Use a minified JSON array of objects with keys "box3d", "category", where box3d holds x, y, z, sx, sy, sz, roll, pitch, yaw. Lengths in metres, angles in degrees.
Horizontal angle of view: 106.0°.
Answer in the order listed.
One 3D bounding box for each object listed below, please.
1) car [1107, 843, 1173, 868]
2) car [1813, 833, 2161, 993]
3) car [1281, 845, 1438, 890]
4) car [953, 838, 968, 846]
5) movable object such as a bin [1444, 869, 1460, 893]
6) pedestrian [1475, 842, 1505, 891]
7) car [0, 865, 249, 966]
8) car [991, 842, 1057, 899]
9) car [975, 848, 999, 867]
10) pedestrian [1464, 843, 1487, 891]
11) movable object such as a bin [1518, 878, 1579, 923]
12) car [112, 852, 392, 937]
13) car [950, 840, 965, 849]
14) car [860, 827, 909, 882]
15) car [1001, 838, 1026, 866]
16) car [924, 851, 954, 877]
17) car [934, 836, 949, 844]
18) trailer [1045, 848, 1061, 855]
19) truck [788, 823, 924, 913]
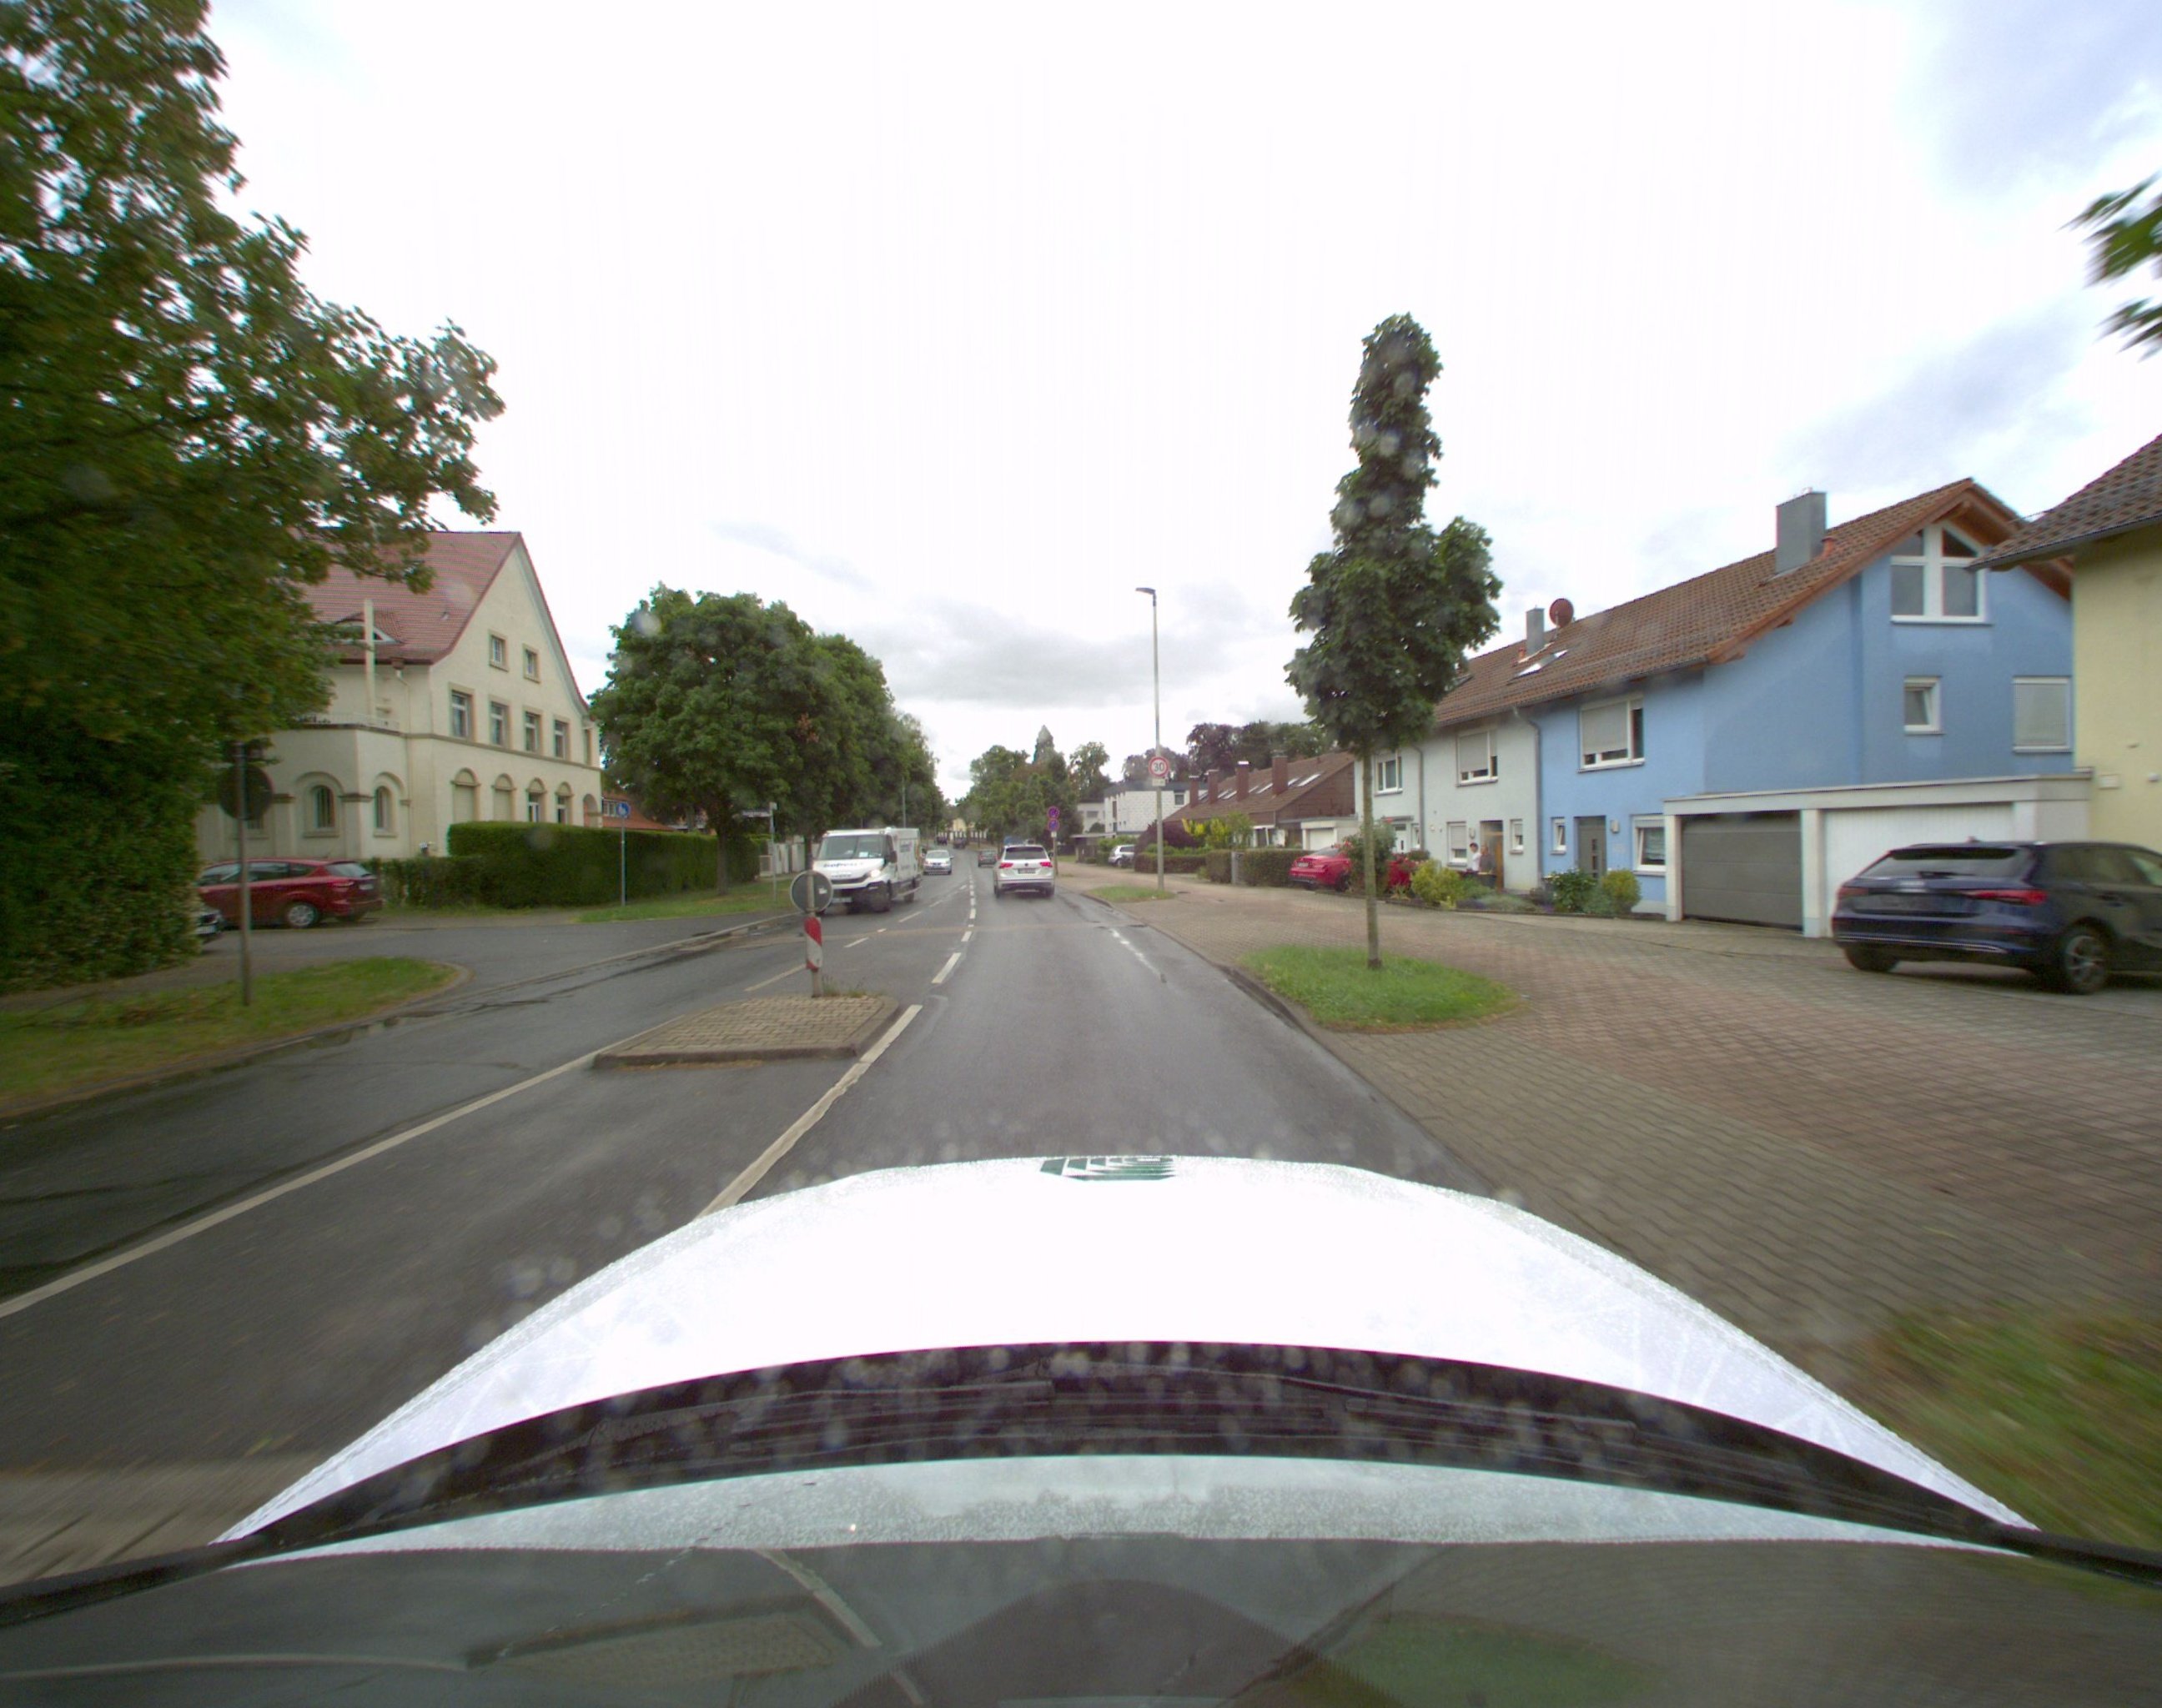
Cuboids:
[{"box3d":[3.825,0.098,53.183,3.988,1.442,1.841,-2,0,-11],"category":"car"},{"box3d":[10.019,0.594,8.363,3.988,1.387,1.668,2,-1,-11],"category":"car"},{"box3d":[8.266,0.361,24.221,4.316,1.260,1.669,0,1,-19],"category":"car"},{"box3d":[-22.685,-2.326,153.171,1.652,1.427,3.965,0,2,-28],"category":"car"},{"box3d":[10.027,0.730,22.010,0.255,0.626,0.324,-2,0,-8],"category":"movable object such as a bin"},{"box3d":[11.485,0.352,22.874,0.537,1.351,0.525,-1,0,-22],"category":"pedestrian"},{"box3d":[-16.551,0.952,13.135,4.024,1.474,1.684,-1,0,-16],"category":"car"},{"box3d":[-1.932,0.489,26.685,1.864,1.650,3.989,-2,0,-8],"category":"car"},{"box3d":[-8.020,0.279,69.356,1.769,1.551,3.987,-1,0,-9],"category":"car"},{"box3d":[11.350,0.361,23.441,0.492,1.351,0.567,-1,0,14],"category":"pedestrian"},{"box3d":[10.713,1.055,18.692,0.892,0.963,0.815,-1,0,-8],"category":"movable object such as a bin"},{"box3d":[-18.406,0.839,18.317,4.024,1.651,1.685,-1,3,-16],"category":"car"},{"box3d":[-21.291,-1.694,140.660,1.649,1.427,3.970,0,2,-23],"category":"car"},{"box3d":[-10.411,-0.029,43.544,1.992,2.728,5.921,0,1,-8],"category":"car"},{"box3d":[-6.696,-0.255,80.582,1.993,2.586,5.616,-3,1,-9],"category":"car"},{"box3d":[-8.548,0.585,49.169,1.593,1.464,3.444,-1,1,-8],"category":"car"},{"box3d":[-26.980,-2.650,157.181,1.652,1.427,3.964,0,2,-28],"category":"car"},{"box3d":[-3.592,-0.289,104.103,2.039,0.883,1.362,0,1,-6],"category":"trailer"},{"box3d":[-6.165,0.329,23.306,2.211,2.203,6.460,-1,0,-1],"category":"truck"}]
